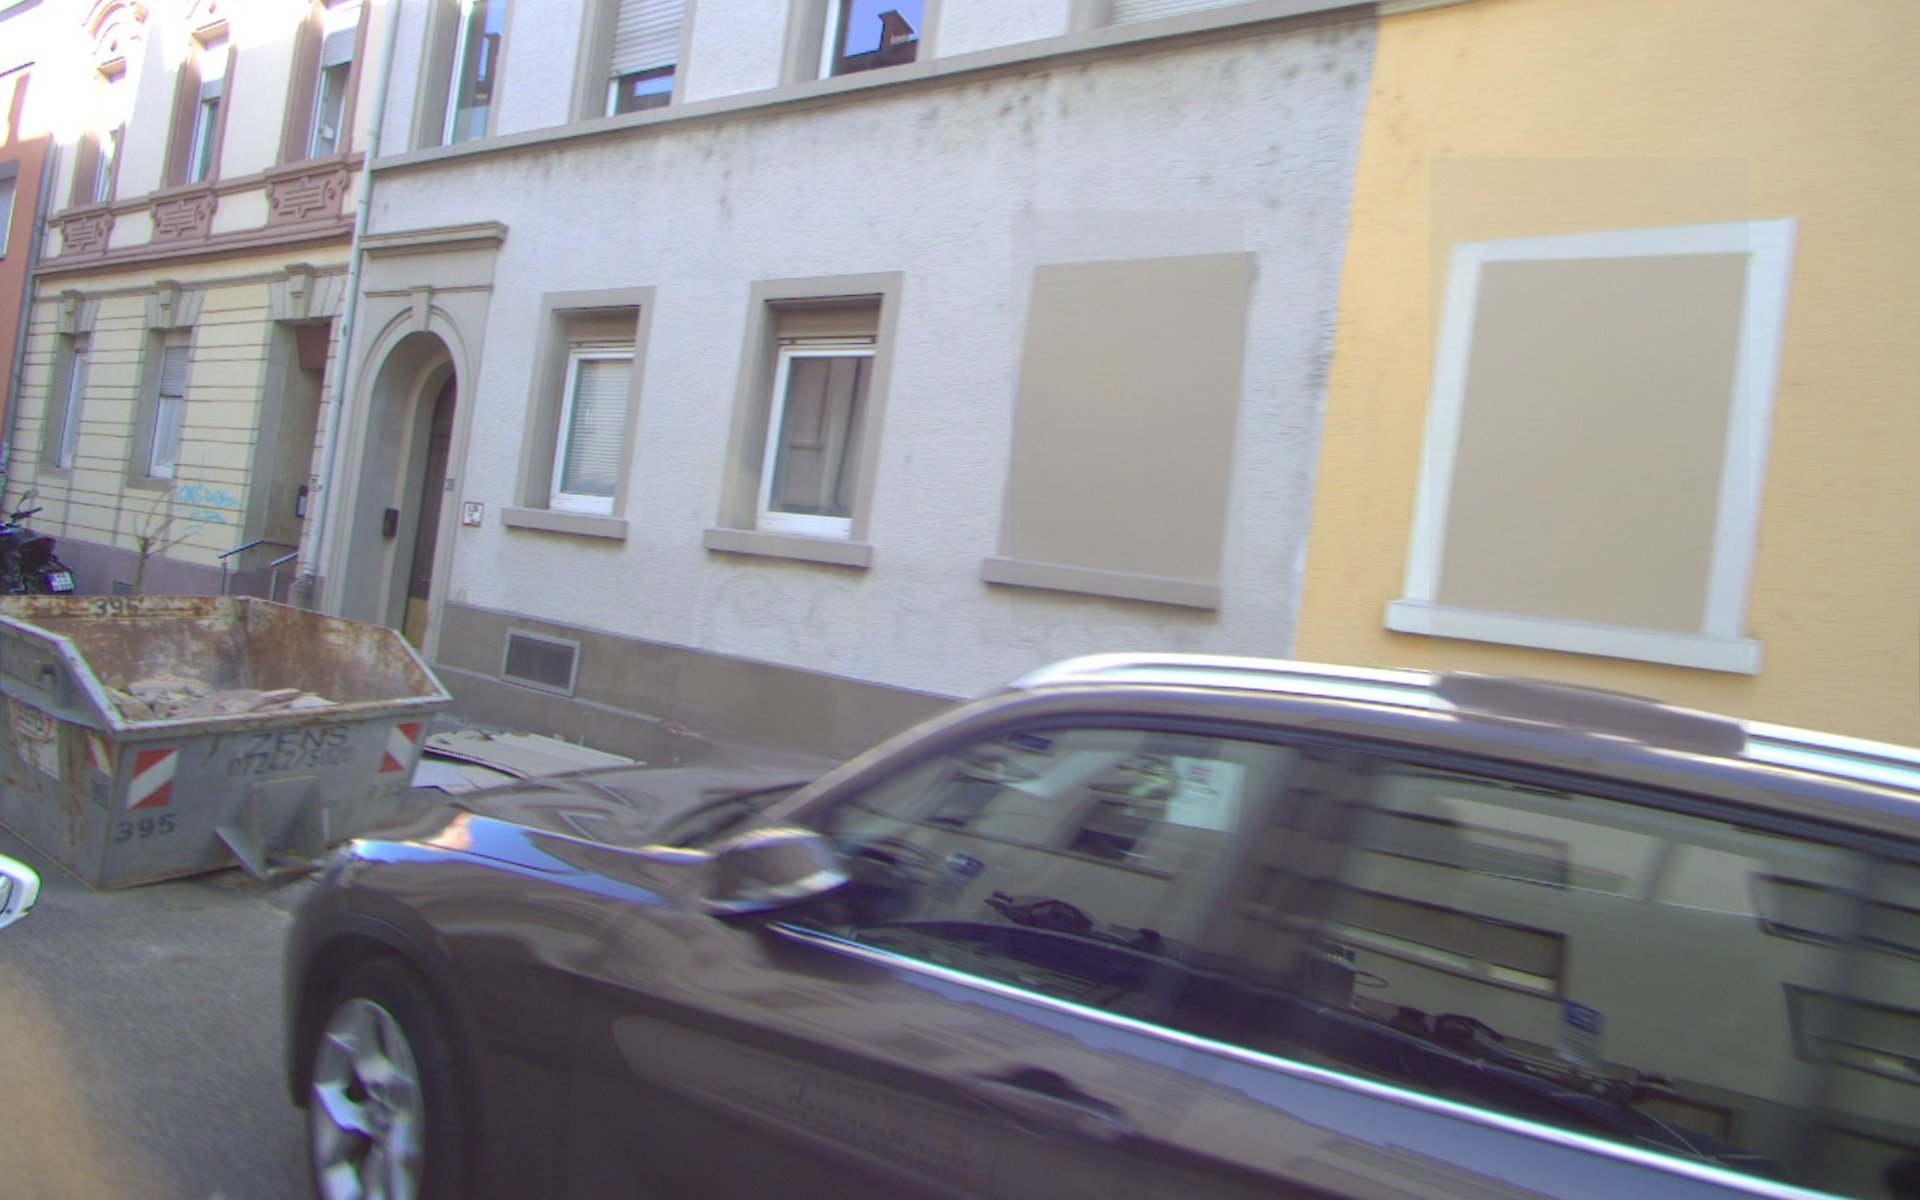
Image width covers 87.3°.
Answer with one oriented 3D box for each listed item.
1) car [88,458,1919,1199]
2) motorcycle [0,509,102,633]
[{"bbox_3d":[0.271,0.788,2.128,4.302,1.595,1.744,8,-1,30],"label":"car"},{"bbox_3d":[-10.861,-0.386,11.640,2.714,1.203,0.596,7,3,32],"label":"motorcycle"}]
